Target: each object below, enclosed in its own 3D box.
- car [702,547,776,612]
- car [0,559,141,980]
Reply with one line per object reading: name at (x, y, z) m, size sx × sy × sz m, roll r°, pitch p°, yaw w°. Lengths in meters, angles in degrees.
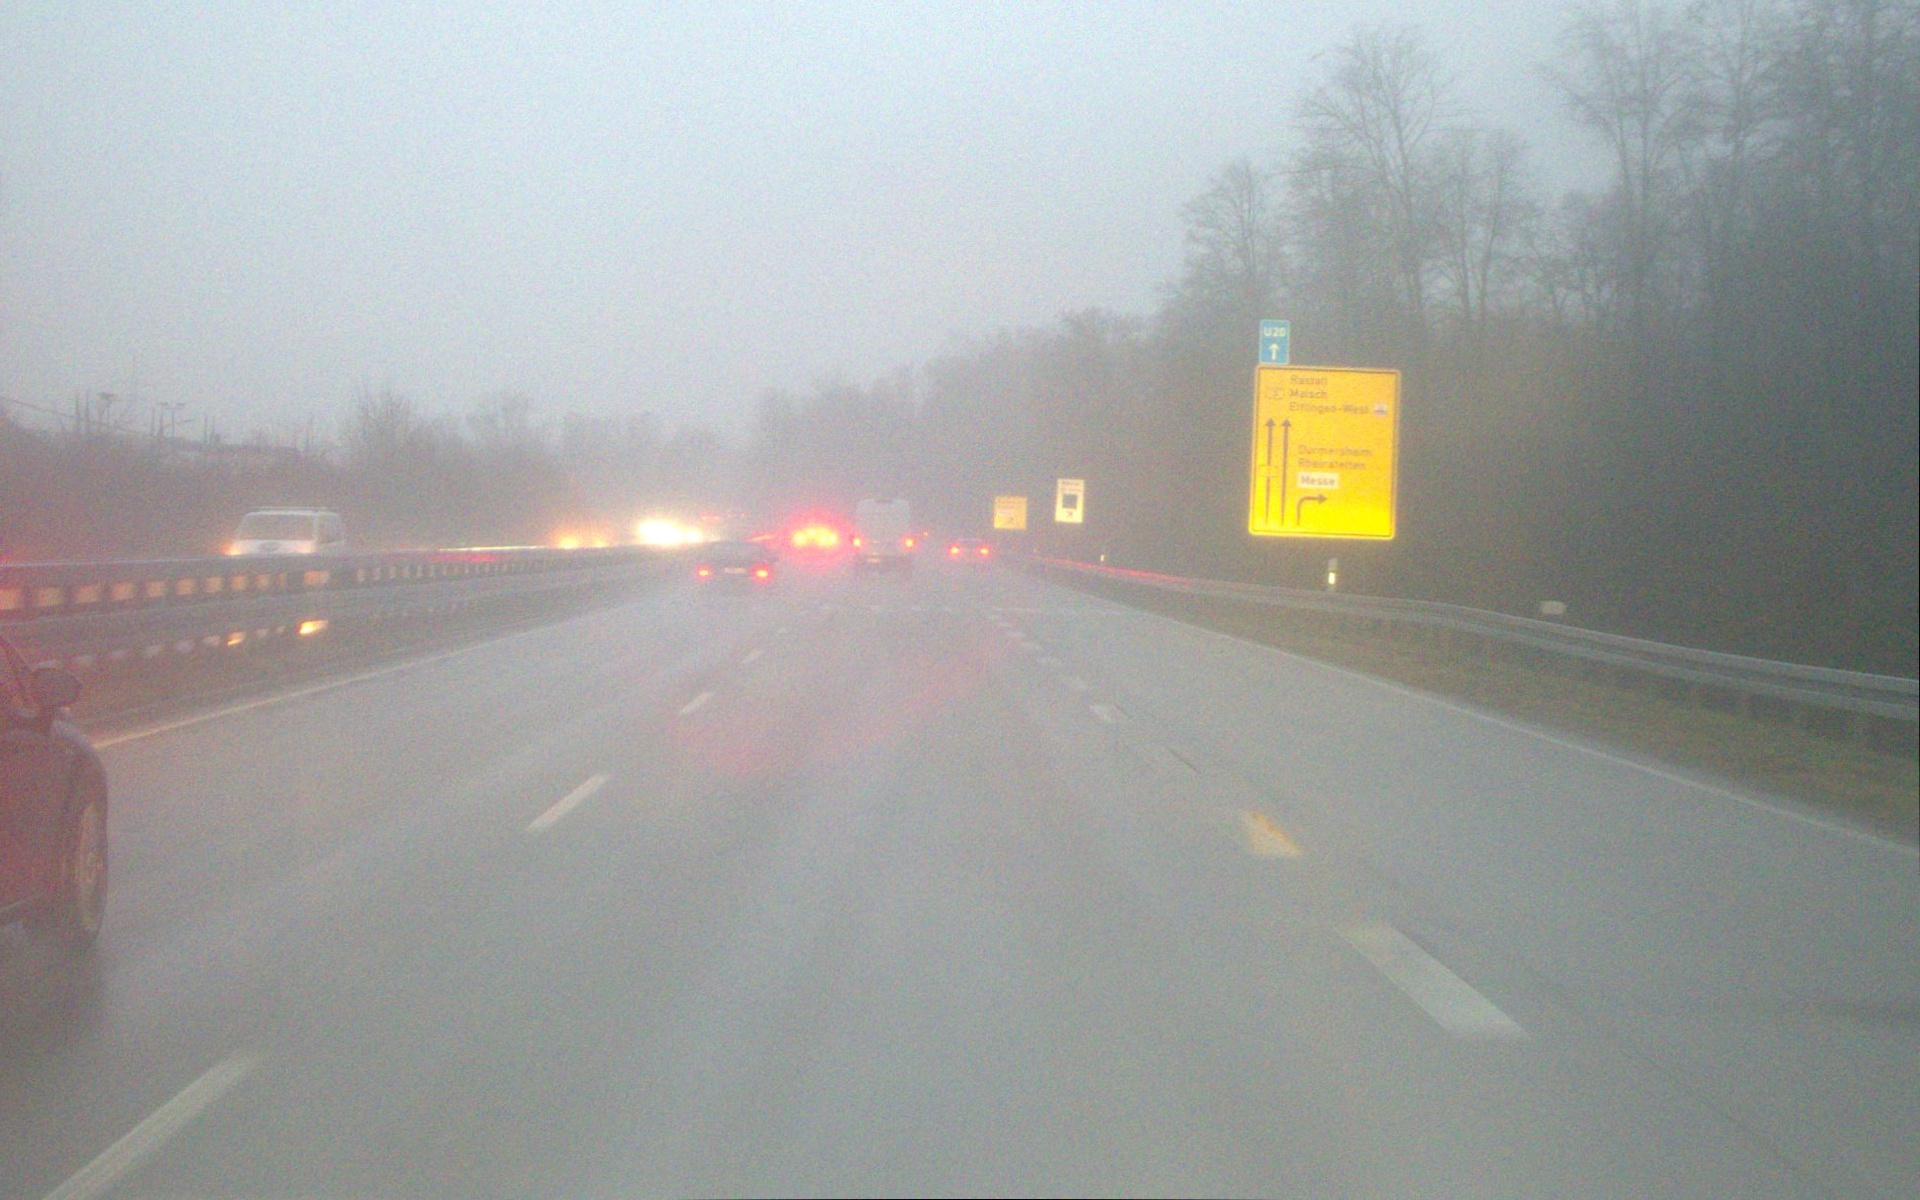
car at (-4.779, -0.452, 74.500) m, size 1.416 × 1.312 × 3.083 m, roll 2°, pitch 1°, yaw -1°
car at (-4.004, 0.548, 11.554) m, size 1.625 × 1.387 × 4.000 m, roll 2°, pitch 1°, yaw -2°
